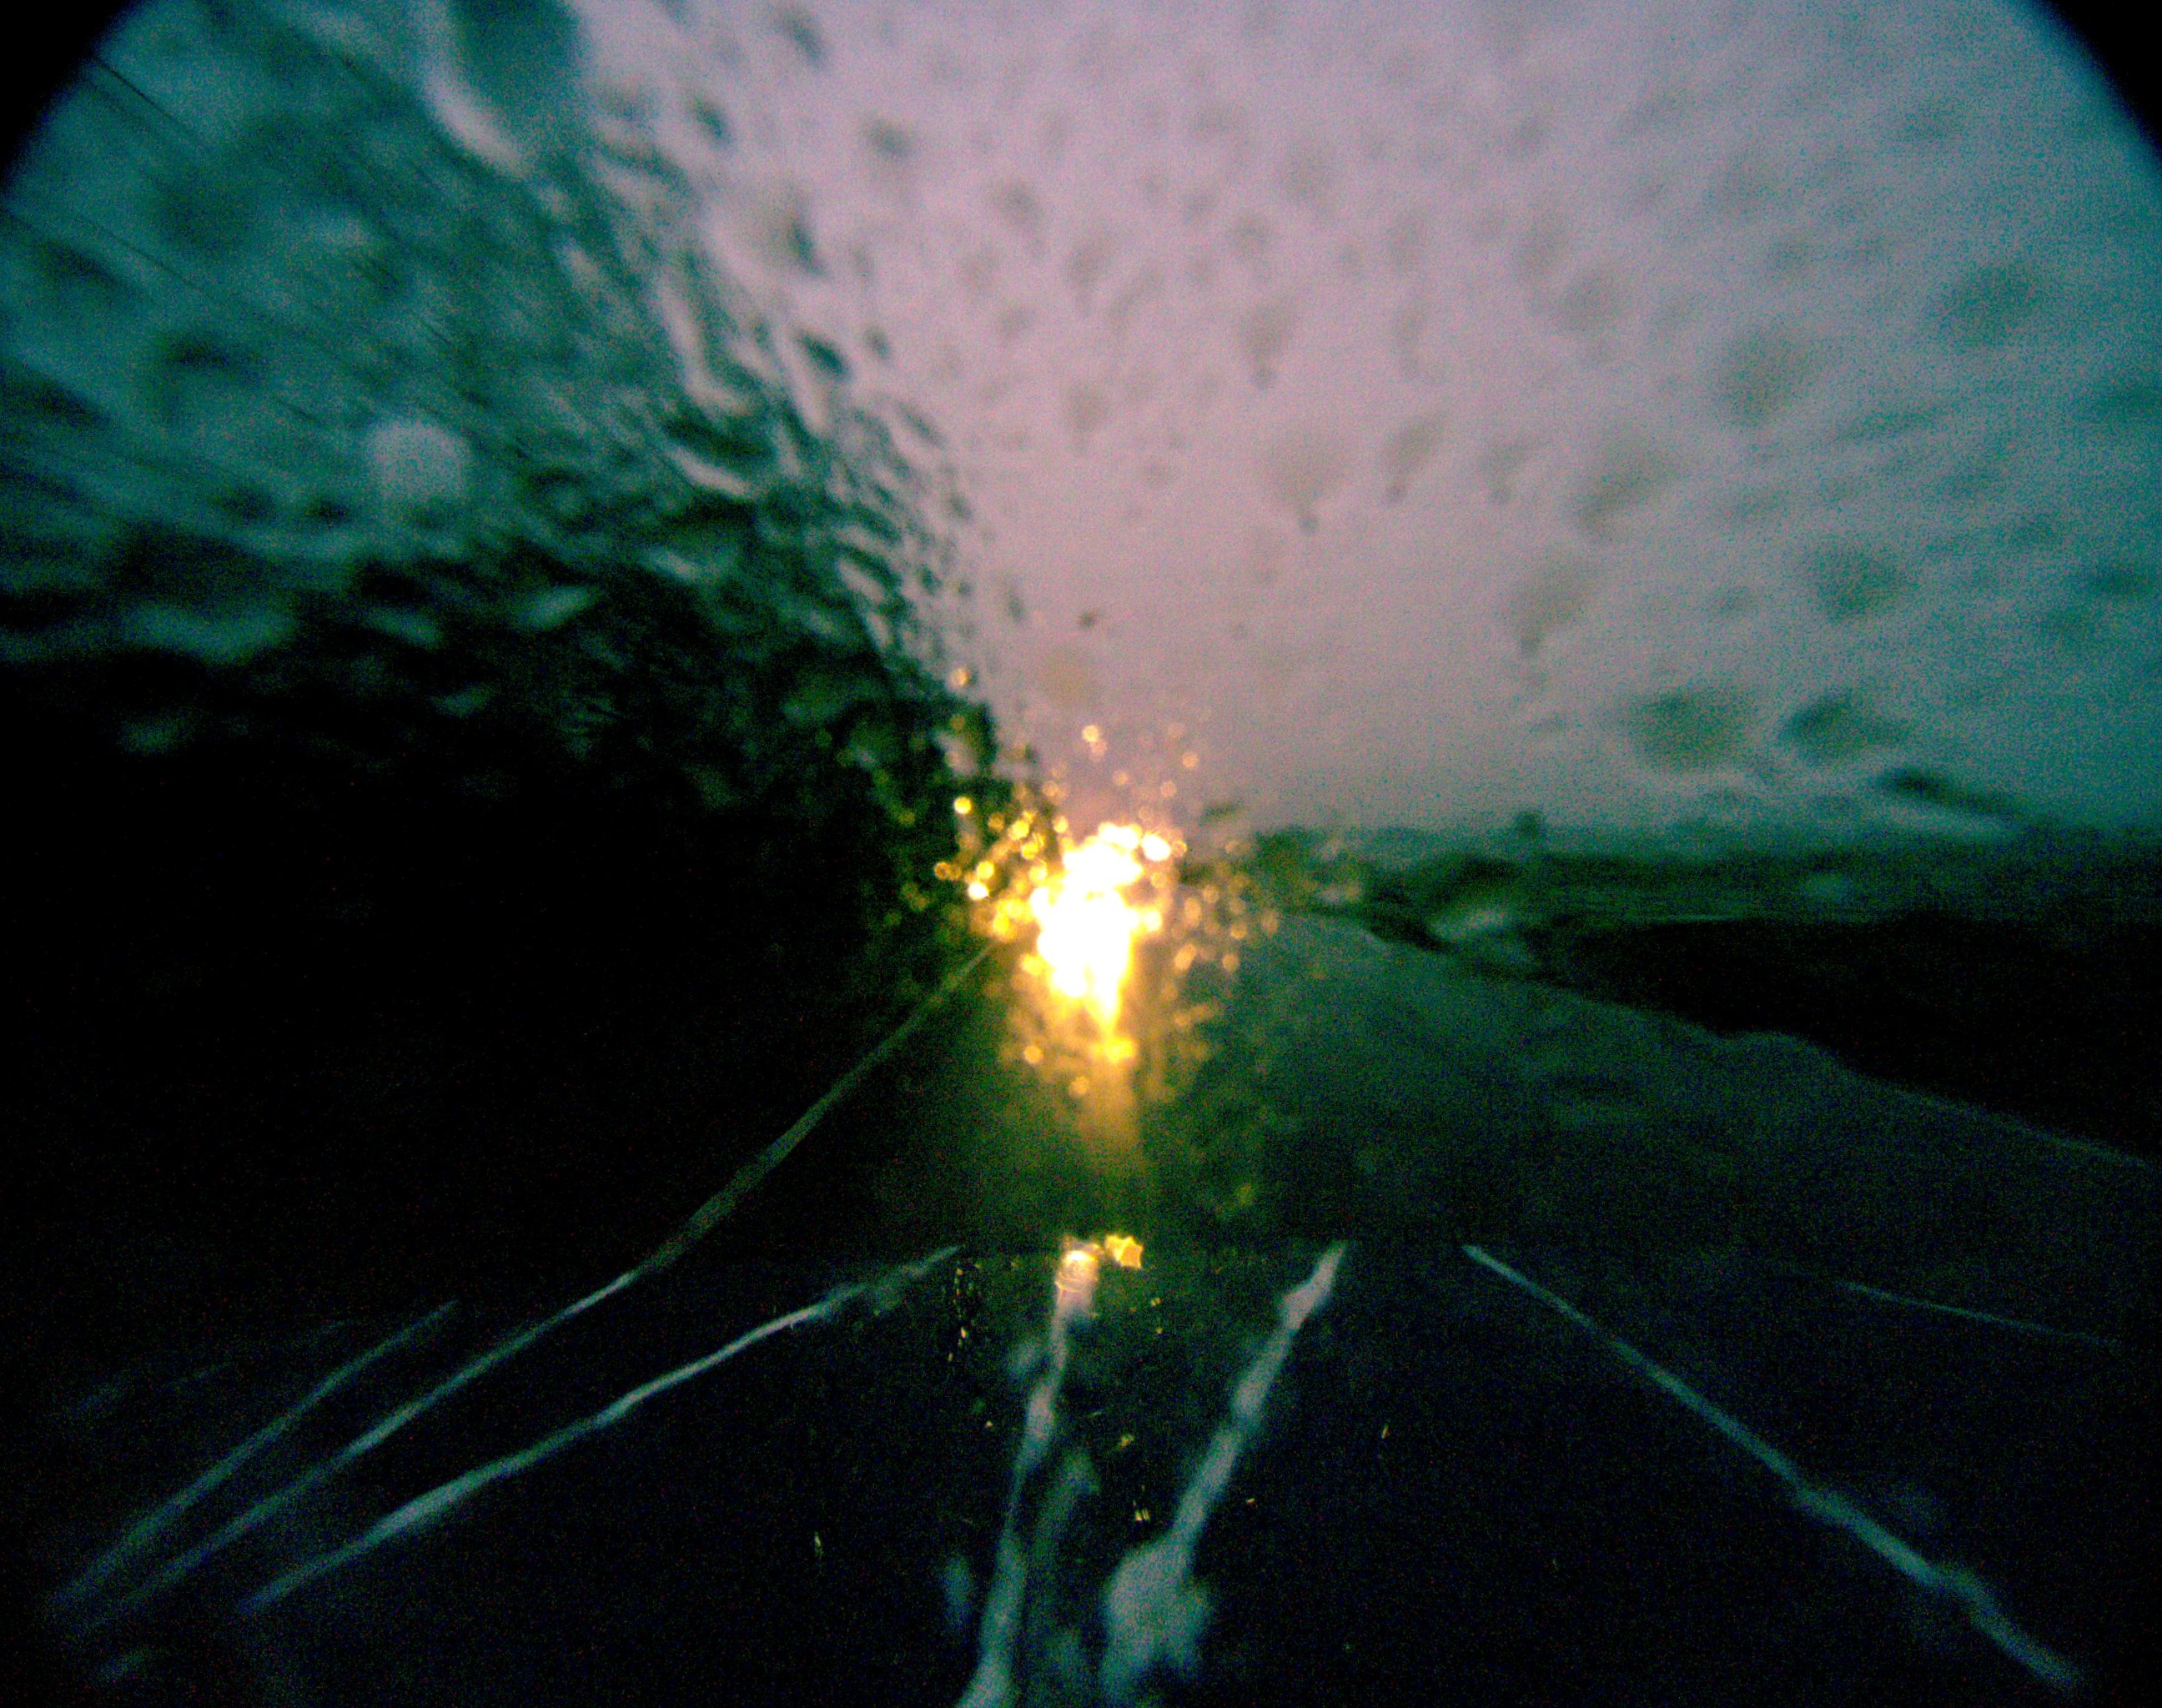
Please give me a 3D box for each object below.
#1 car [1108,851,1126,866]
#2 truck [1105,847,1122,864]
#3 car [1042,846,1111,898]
[{"bbox_3d":[4.424,0.518,94.439,1.998,1.812,4.000,1,0,0],"label":"car"},{"bbox_3d":[5.219,0.209,122.922,2.275,2.619,7.034,1,0,0],"label":"truck"},{"bbox_3d":[-0.094,0.696,33.647,2.704,1.974,5.804,-3,0,2],"label":"car"}]
